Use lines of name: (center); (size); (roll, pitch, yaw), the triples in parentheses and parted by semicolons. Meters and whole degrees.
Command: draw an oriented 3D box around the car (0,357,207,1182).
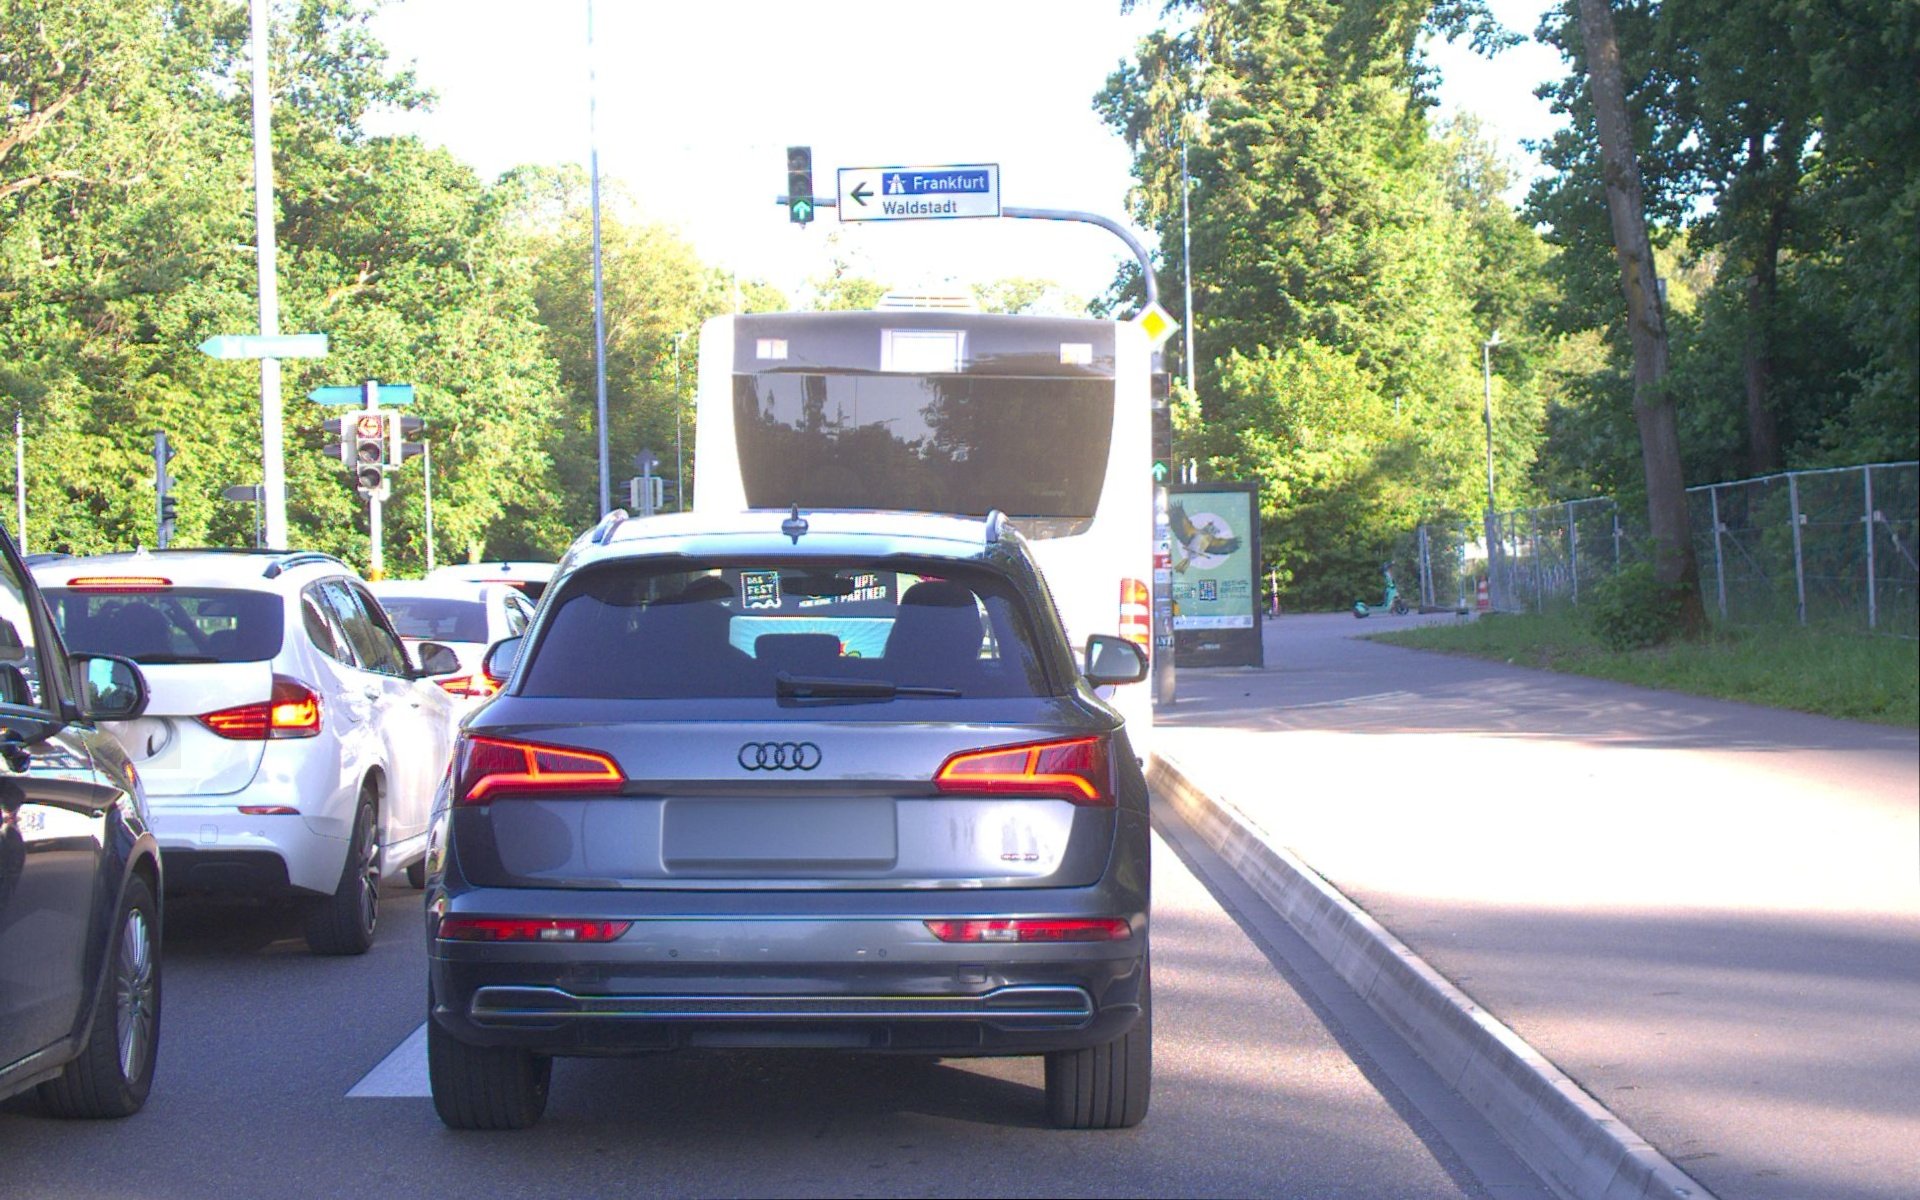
car: (-3.098, 0.375, 7.442); (1.907, 1.849, 4.873); (1, 1, -1)

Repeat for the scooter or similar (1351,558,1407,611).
scooter or similar: (9.398, -0.344, 77.125); (1.184, 1.170, 0.659); (1, 1, 11)

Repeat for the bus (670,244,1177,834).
bus: (-0.168, -0.391, 21.384); (2.678, 3.131, 5.882); (1, 1, 1)

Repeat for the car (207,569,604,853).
car: (-3.186, 0.577, 20.521); (1.785, 1.439, 4.278); (1, 1, -2)

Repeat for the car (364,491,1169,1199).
car: (-0.478, 0.542, 10.075); (1.868, 1.658, 4.000); (1, 1, -1)

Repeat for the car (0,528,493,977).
car: (-3.104, 0.536, 14.407); (1.718, 1.575, 4.434); (1, 0, -1)

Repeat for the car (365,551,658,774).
car: (-3.438, 0.429, 27.032); (1.808, 1.567, 4.000); (1, 1, -1)
